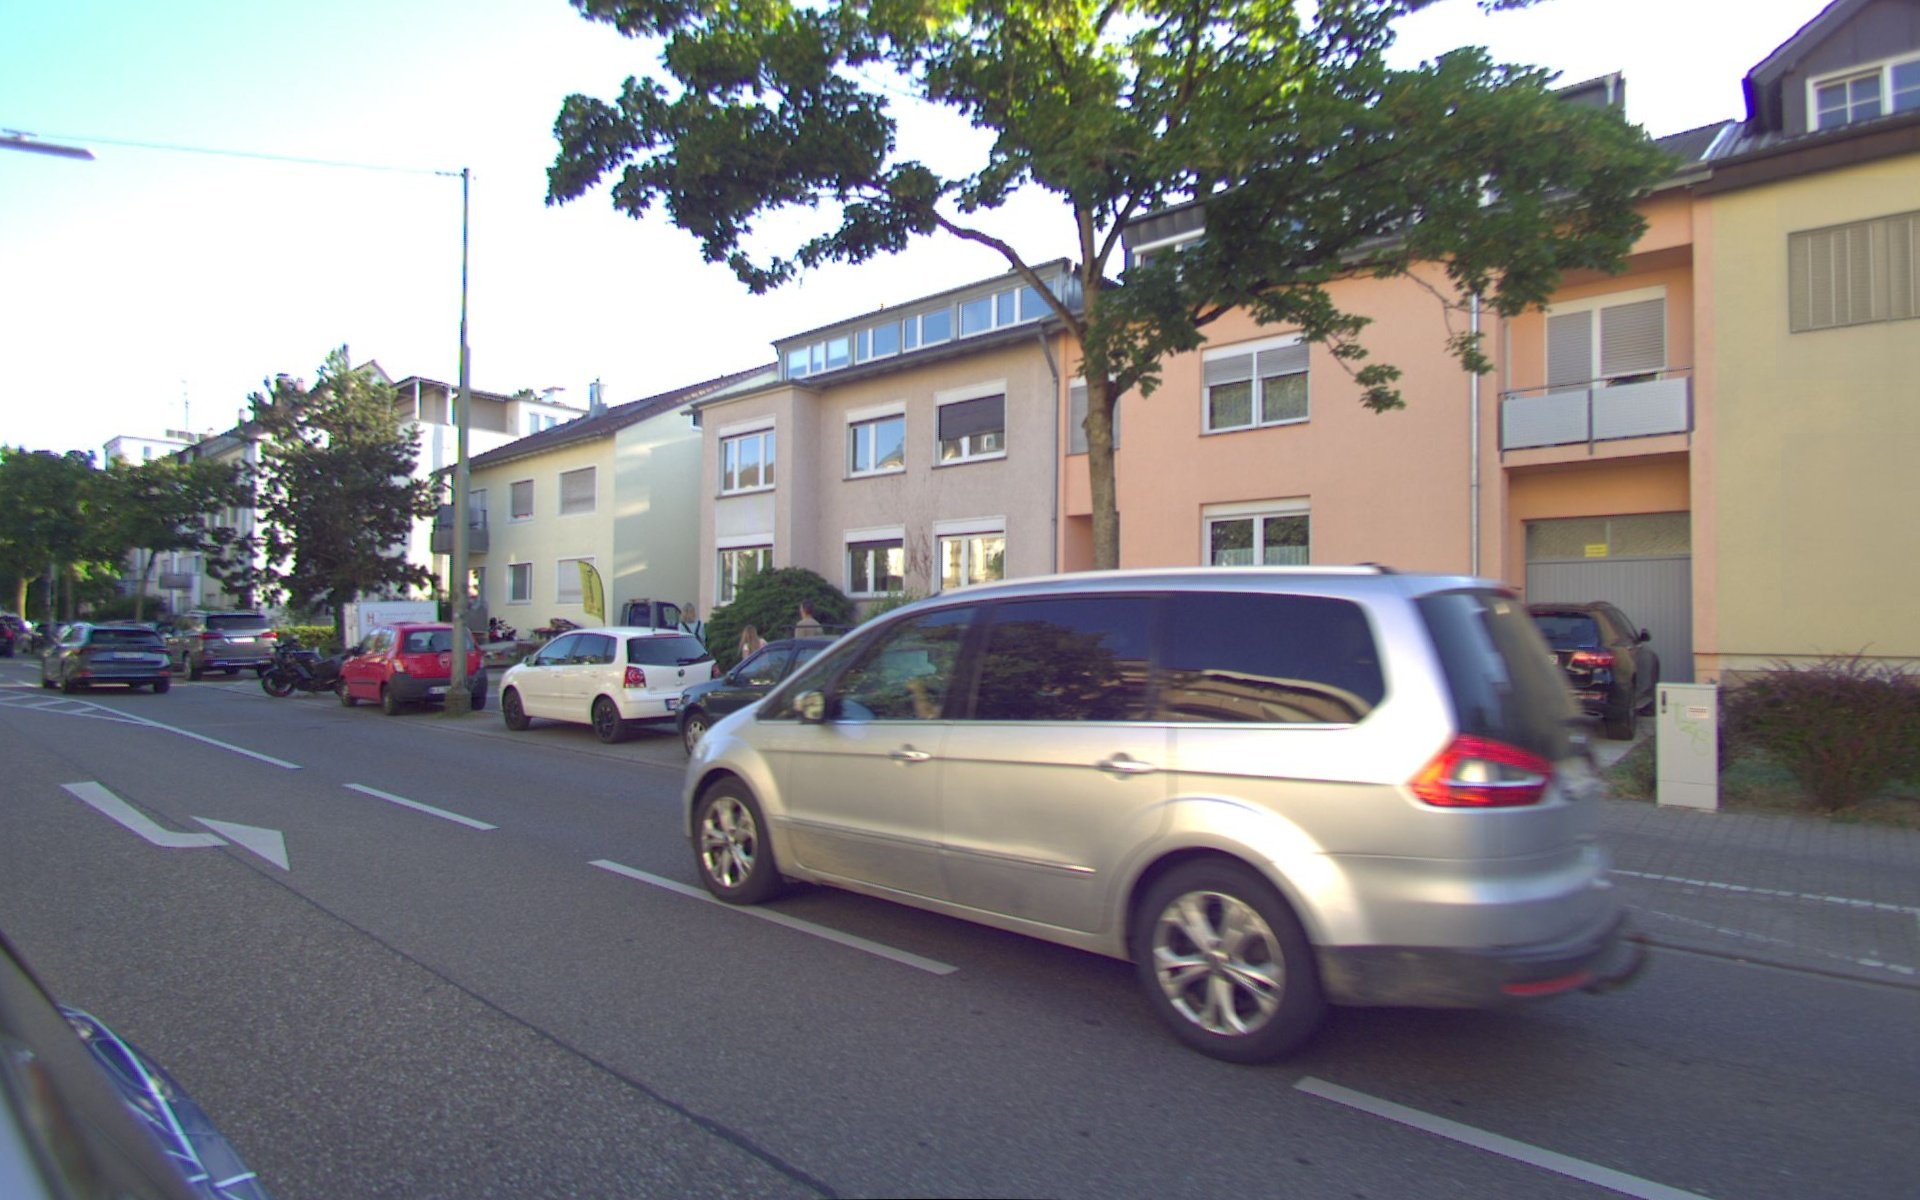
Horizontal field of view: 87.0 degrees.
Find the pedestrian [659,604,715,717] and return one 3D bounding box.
[{"bbox_3d":[-4.514,0.986,16.736,0.506,1.806,0.705,-2,-3,43],"label":"pedestrian"}]

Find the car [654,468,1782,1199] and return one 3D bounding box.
[{"bbox_3d":[0.715,0.667,4.690,4.743,1.818,1.786,-1,-4,41],"label":"car"}]

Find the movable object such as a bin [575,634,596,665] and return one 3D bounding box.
[{"bbox_3d":[-12.495,1.654,33.788,0.449,1.026,0.497,-1,-3,40],"label":"movable object such as a bin"}]

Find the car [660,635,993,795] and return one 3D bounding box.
[{"bbox_3d":[-1.541,1.101,10.912,3.664,1.407,1.527,-1,-2,41],"label":"car"}]

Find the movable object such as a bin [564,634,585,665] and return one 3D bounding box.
[{"bbox_3d":[-13.008,1.665,34.184,0.449,1.026,0.497,-1,-3,40],"label":"movable object such as a bin"}]

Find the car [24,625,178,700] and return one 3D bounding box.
[{"bbox_3d":[-18.521,1.305,21.754,4.530,1.463,1.742,-1,-5,40],"label":"car"}]

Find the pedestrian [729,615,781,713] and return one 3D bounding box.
[{"bbox_3d":[-3.235,1.003,15.983,0.542,1.507,0.583,-2,-3,44],"label":"pedestrian"}]

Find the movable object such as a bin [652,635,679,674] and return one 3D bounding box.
[{"bbox_3d":[-8.463,1.557,29.096,0.586,1.099,0.483,-1,-3,41],"label":"movable object such as a bin"}]

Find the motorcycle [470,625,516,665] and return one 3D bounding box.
[{"bbox_3d":[-16.602,1.575,35.964,2.257,1.384,0.564,-1,-3,41],"label":"motorcycle"}]

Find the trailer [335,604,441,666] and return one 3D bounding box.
[{"bbox_3d":[-19.554,1.200,34.639,1.551,2.029,2.746,-1,-3,38],"label":"trailer"}]

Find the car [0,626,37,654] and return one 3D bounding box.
[{"bbox_3d":[-51.735,2.136,55.110,3.634,1.475,1.717,-1,-2,41],"label":"car"}]

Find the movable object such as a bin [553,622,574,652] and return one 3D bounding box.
[{"bbox_3d":[-13.677,1.267,34.925,0.449,1.026,0.497,-1,-3,40],"label":"movable object such as a bin"}]

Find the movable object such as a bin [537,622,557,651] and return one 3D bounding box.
[{"bbox_3d":[-14.533,1.288,35.625,0.449,1.026,0.497,-1,-3,40],"label":"movable object such as a bin"}]

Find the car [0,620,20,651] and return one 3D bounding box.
[{"bbox_3d":[-56.937,2.080,59.708,4.190,1.823,1.717,-1,-2,41],"label":"car"}]

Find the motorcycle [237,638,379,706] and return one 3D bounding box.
[{"bbox_3d":[-13.143,1.422,20.429,2.350,1.276,1.176,0,-2,18],"label":"motorcycle"}]

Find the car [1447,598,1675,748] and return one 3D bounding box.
[{"bbox_3d":[8.098,0.831,13.481,1.865,1.648,3.944,-1,0,42],"label":"car"}]

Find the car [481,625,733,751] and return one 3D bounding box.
[{"bbox_3d":[-5.032,1.122,14.212,3.888,1.535,1.577,-1,-2,40],"label":"car"}]

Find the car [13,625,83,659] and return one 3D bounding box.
[{"bbox_3d":[-42.138,1.919,46.729,3.997,1.497,1.838,-1,-3,40],"label":"car"}]

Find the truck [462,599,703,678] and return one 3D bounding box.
[{"bbox_3d":[-11.613,1.190,31.715,2.275,2.202,6.823,-1,-2,41],"label":"truck"}]

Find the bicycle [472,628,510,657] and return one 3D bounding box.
[{"bbox_3d":[-18.148,1.638,39.169,2.045,1.072,0.513,-1,-2,41],"label":"bicycle"}]

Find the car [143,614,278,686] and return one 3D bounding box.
[{"bbox_3d":[-20.374,1.310,27.449,4.722,1.793,1.868,-1,-2,40],"label":"car"}]

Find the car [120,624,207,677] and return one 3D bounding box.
[{"bbox_3d":[-24.544,1.519,31.173,2.747,1.567,1.557,-1,-2,40],"label":"car"}]

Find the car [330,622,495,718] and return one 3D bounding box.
[{"bbox_3d":[-9.743,1.170,17.923,3.437,1.535,1.575,-1,-2,44],"label":"car"}]

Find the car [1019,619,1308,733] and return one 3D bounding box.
[{"bbox_3d":[2.816,1.008,14.463,3.752,1.420,1.646,-1,-3,43],"label":"car"}]

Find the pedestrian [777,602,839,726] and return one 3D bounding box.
[{"bbox_3d":[-2.293,0.949,15.246,0.572,1.806,0.705,-2,-3,43],"label":"pedestrian"}]

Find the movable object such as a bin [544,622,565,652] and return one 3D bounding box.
[{"bbox_3d":[-14.133,1.280,35.287,0.449,1.026,0.497,-1,-3,40],"label":"movable object such as a bin"}]

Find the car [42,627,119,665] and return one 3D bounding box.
[{"bbox_3d":[-34.249,1.755,39.352,4.441,1.418,1.620,-1,-2,41],"label":"car"}]

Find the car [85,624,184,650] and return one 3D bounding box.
[{"bbox_3d":[-51.594,2.285,63.370,1.735,1.416,4.516,-1,0,31],"label":"car"}]

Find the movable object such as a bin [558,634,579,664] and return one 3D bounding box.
[{"bbox_3d":[-13.350,1.661,34.543,0.449,1.026,0.497,-1,-3,40],"label":"movable object such as a bin"}]

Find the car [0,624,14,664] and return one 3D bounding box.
[{"bbox_3d":[-39.875,1.736,40.954,3.998,1.582,1.816,-1,-4,41],"label":"car"}]
